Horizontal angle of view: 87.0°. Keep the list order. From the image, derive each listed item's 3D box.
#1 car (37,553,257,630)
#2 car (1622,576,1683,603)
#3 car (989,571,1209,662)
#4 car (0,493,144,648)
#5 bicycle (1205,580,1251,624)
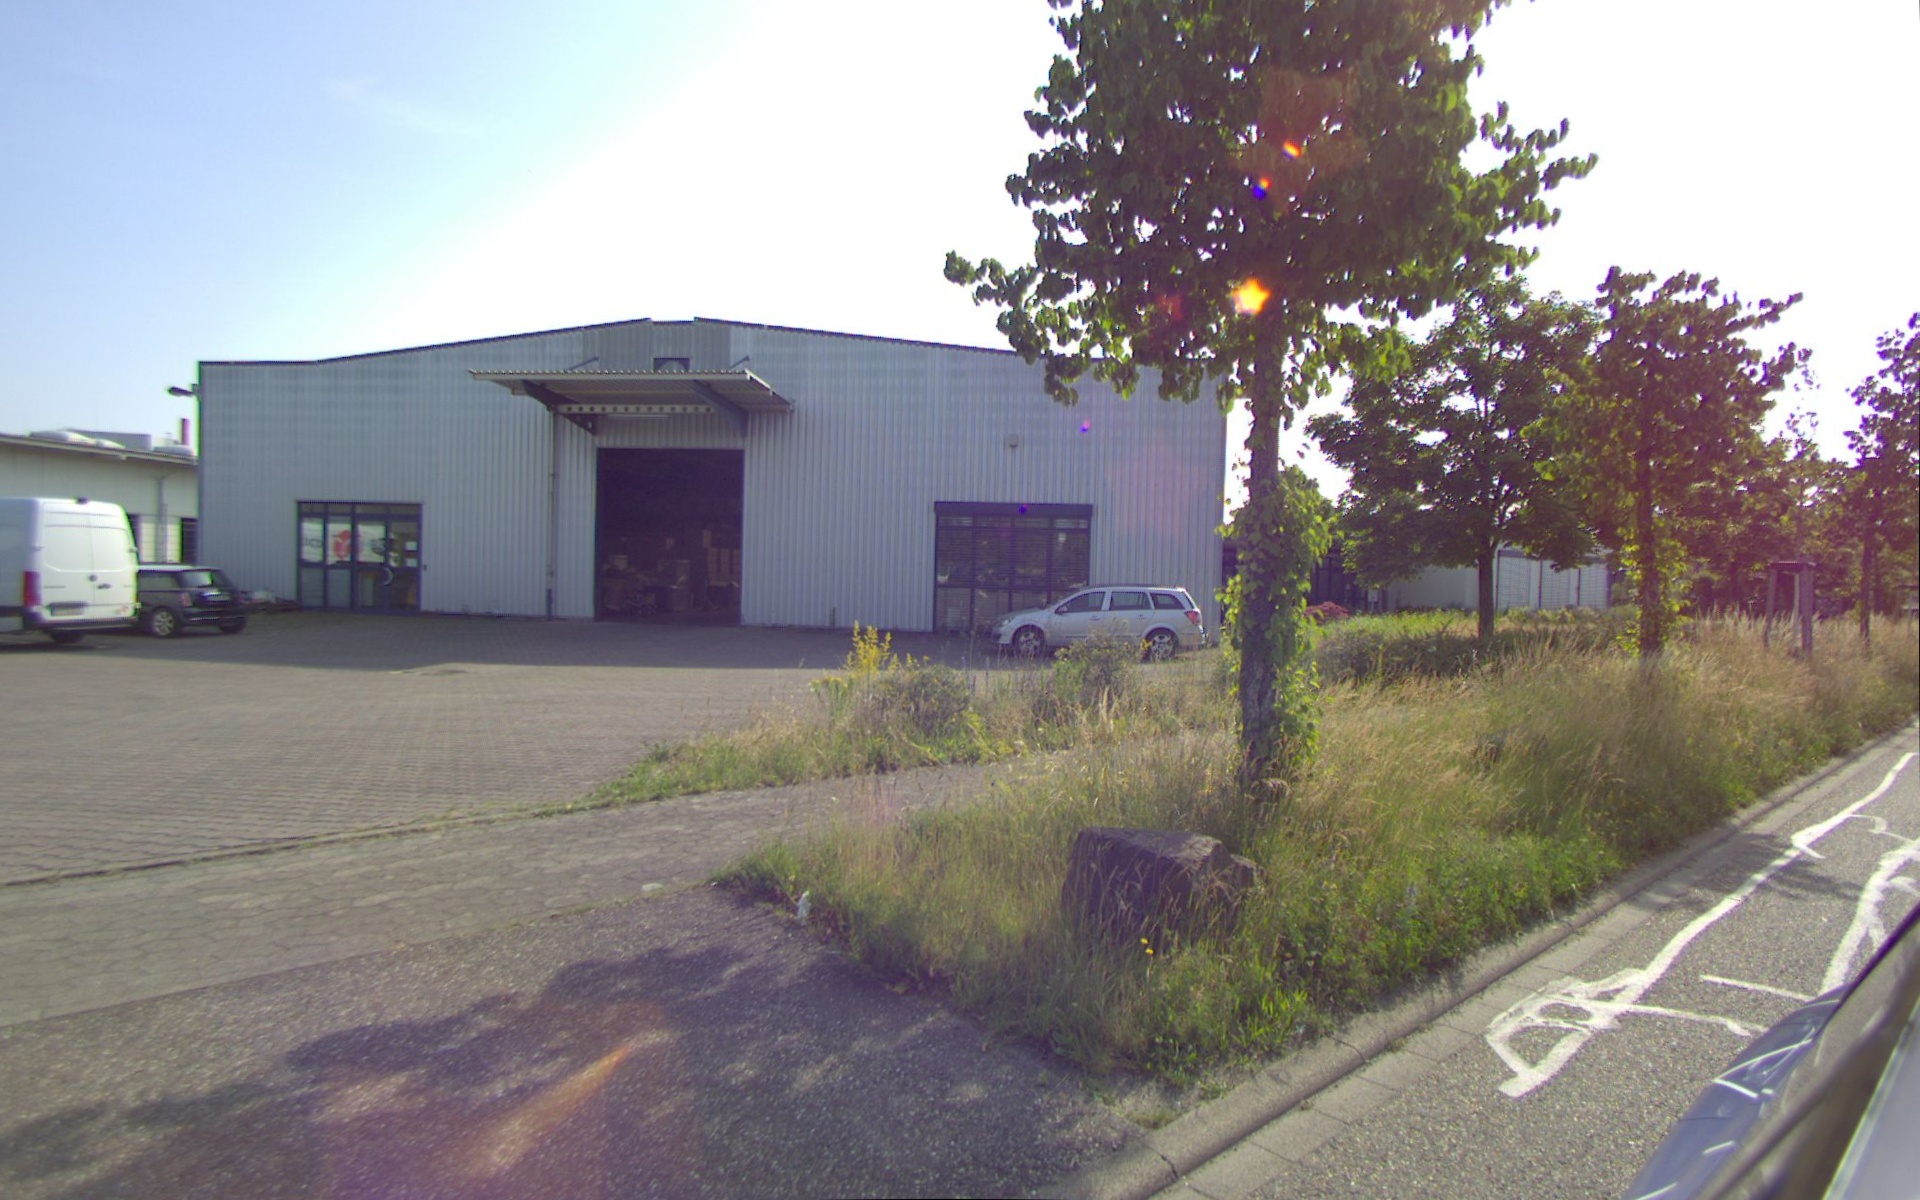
[{"bbox_3d":[-16.602,-0.162,20.747,3.383,1.490,1.699,-1,0,9],"label":"car"},{"bbox_3d":[44.719,-0.659,65.315,3.680,1.703,1.603,-1,0,-26],"label":"car"},{"bbox_3d":[2.808,0.290,21.001,4.283,1.581,1.758,2,4,6],"label":"car"},{"bbox_3d":[-18.427,-0.565,18.209,6.451,2.556,2.003,1,1,9],"label":"car"},{"bbox_3d":[9.510,0.057,35.830,0.803,1.489,2.250,-1,0,36],"label":"bicycle"}]
